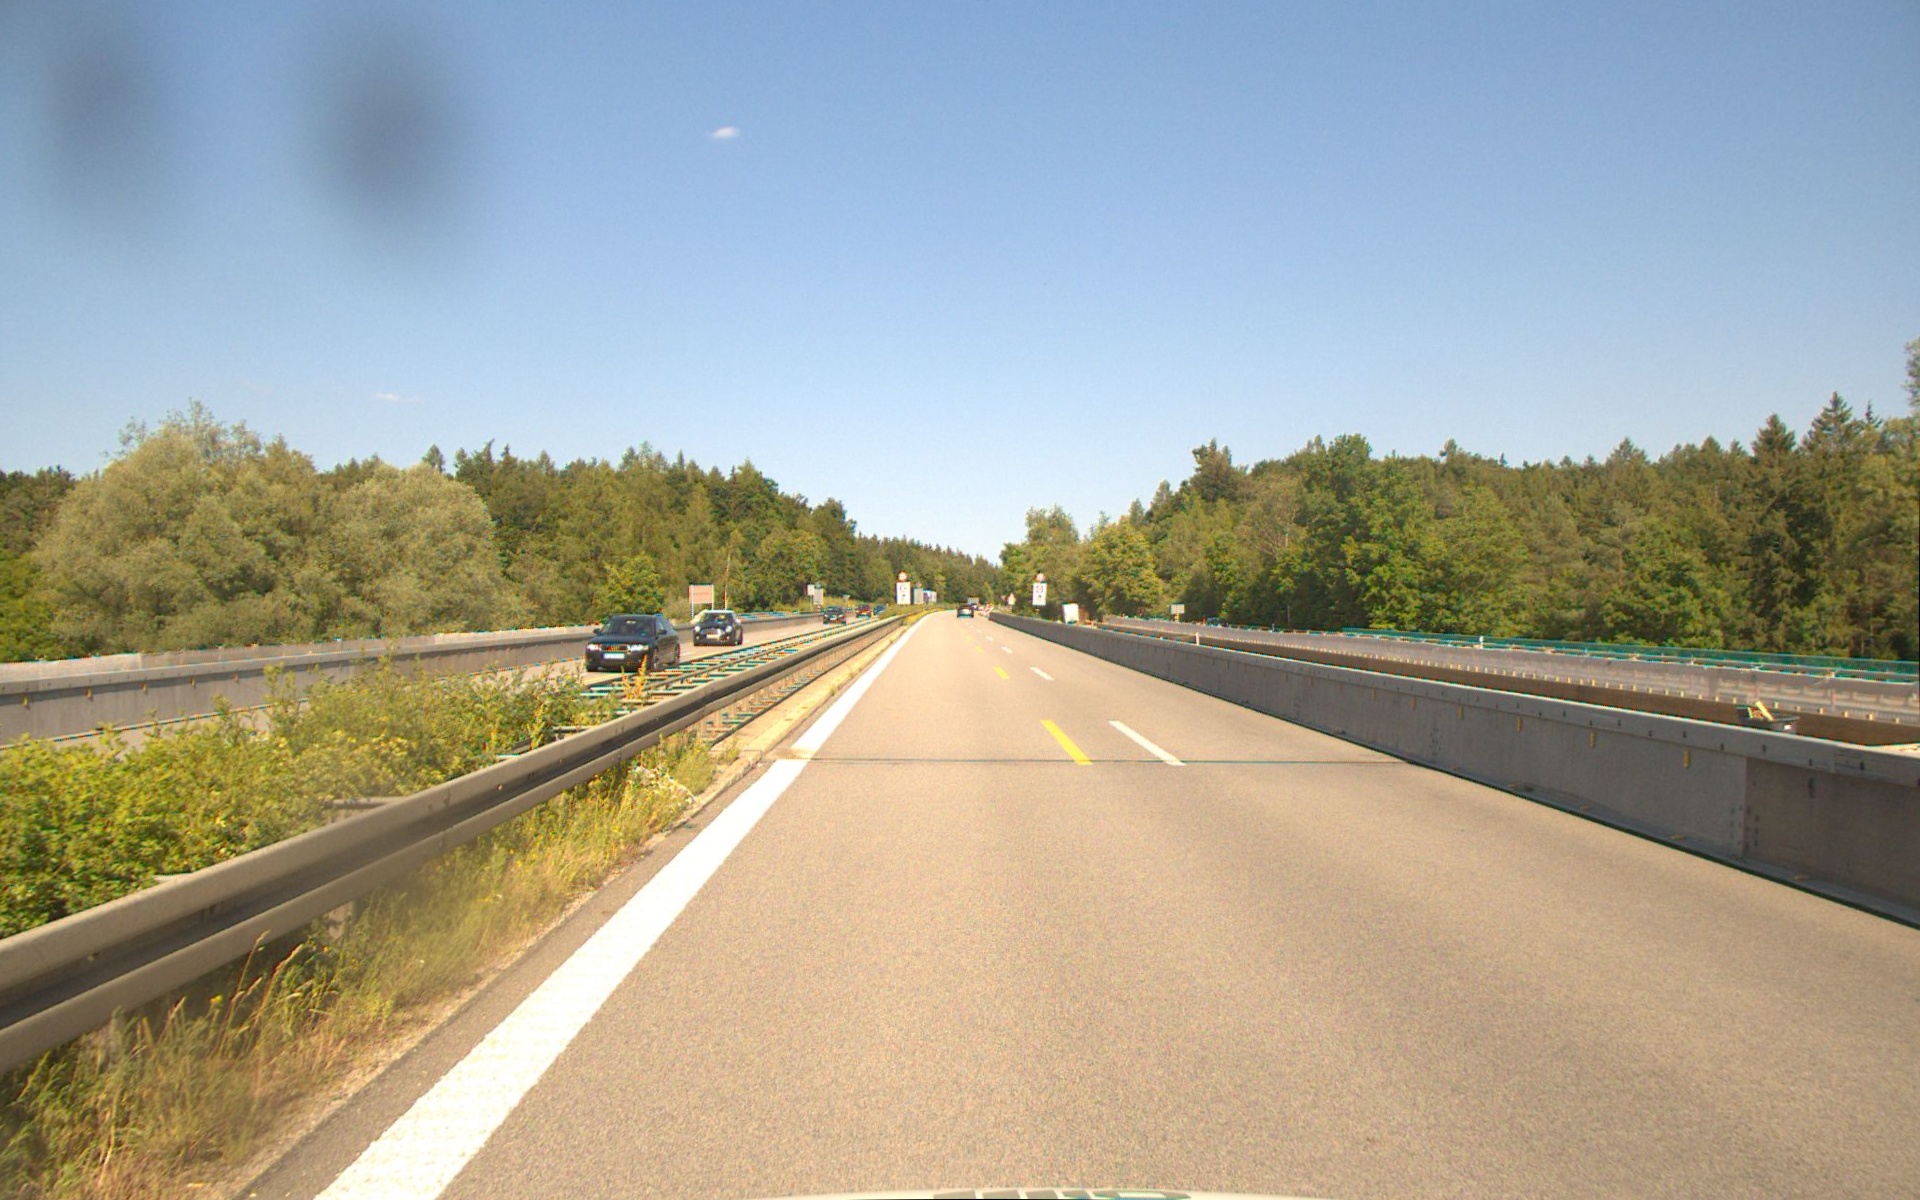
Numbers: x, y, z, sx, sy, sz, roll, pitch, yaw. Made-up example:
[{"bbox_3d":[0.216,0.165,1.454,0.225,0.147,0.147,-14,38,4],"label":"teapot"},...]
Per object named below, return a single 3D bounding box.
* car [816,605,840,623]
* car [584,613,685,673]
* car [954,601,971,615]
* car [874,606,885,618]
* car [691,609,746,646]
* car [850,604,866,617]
[{"bbox_3d":[-11.206,1.171,140.988,1.708,1.492,4.908,-1,0,-1],"label":"car"},{"bbox_3d":[-8.308,1.064,42.564,1.612,1.401,4.808,-1,0,0],"label":"car"},{"bbox_3d":[0.278,0.854,179.480,1.708,1.492,4.293,-1,0,-1],"label":"car"},{"bbox_3d":[-11.599,1.690,238.709,1.496,1.589,3.453,-3,-2,-1],"label":"car"},{"bbox_3d":[-9.807,1.102,67.409,1.648,1.417,4.191,-1,0,-1],"label":"car"},{"bbox_3d":[-12.082,1.250,196.323,1.708,1.492,4.293,-1,0,-1],"label":"car"}]
